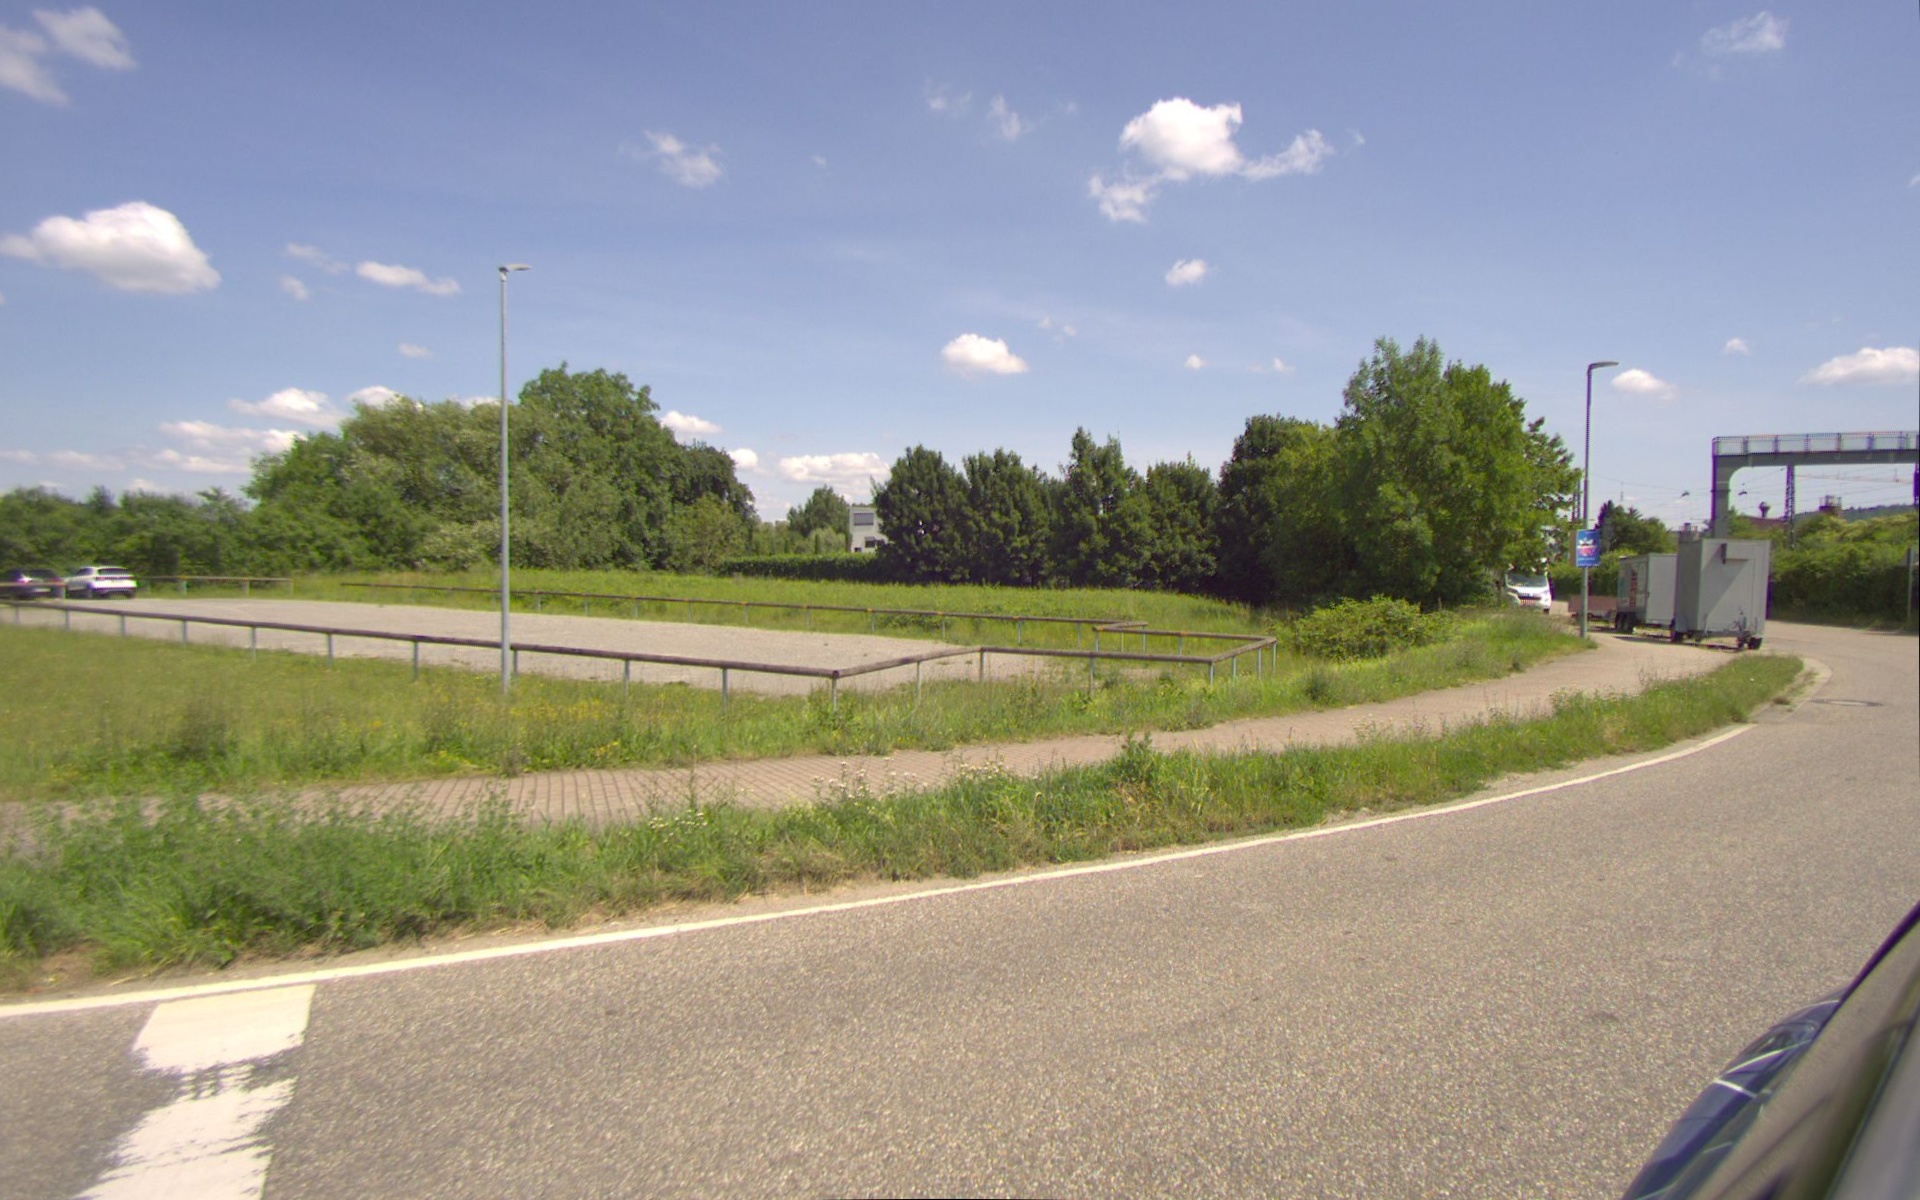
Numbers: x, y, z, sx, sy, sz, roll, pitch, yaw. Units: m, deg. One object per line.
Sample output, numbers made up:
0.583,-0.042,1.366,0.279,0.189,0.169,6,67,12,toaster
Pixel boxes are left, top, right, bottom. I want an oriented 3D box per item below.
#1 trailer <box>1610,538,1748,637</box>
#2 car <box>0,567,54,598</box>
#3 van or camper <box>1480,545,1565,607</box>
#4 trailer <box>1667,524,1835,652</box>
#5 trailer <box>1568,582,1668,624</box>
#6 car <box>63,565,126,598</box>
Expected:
20.666,-0.397,29.340,1.901,2.539,4.711,4,2,20,trailer
-42.278,-0.788,45.595,3.094,1.354,1.403,0,2,33,car
28.639,-1.241,51.843,2.416,2.861,7.577,2,2,19,van or camper
18.869,-0.339,24.444,1.920,2.676,5.139,4,3,25,trailer
22.361,0.060,34.571,1.988,1.136,4.457,4,3,22,trailer
-41.178,-0.877,48.133,3.094,1.523,1.403,0,2,32,car
